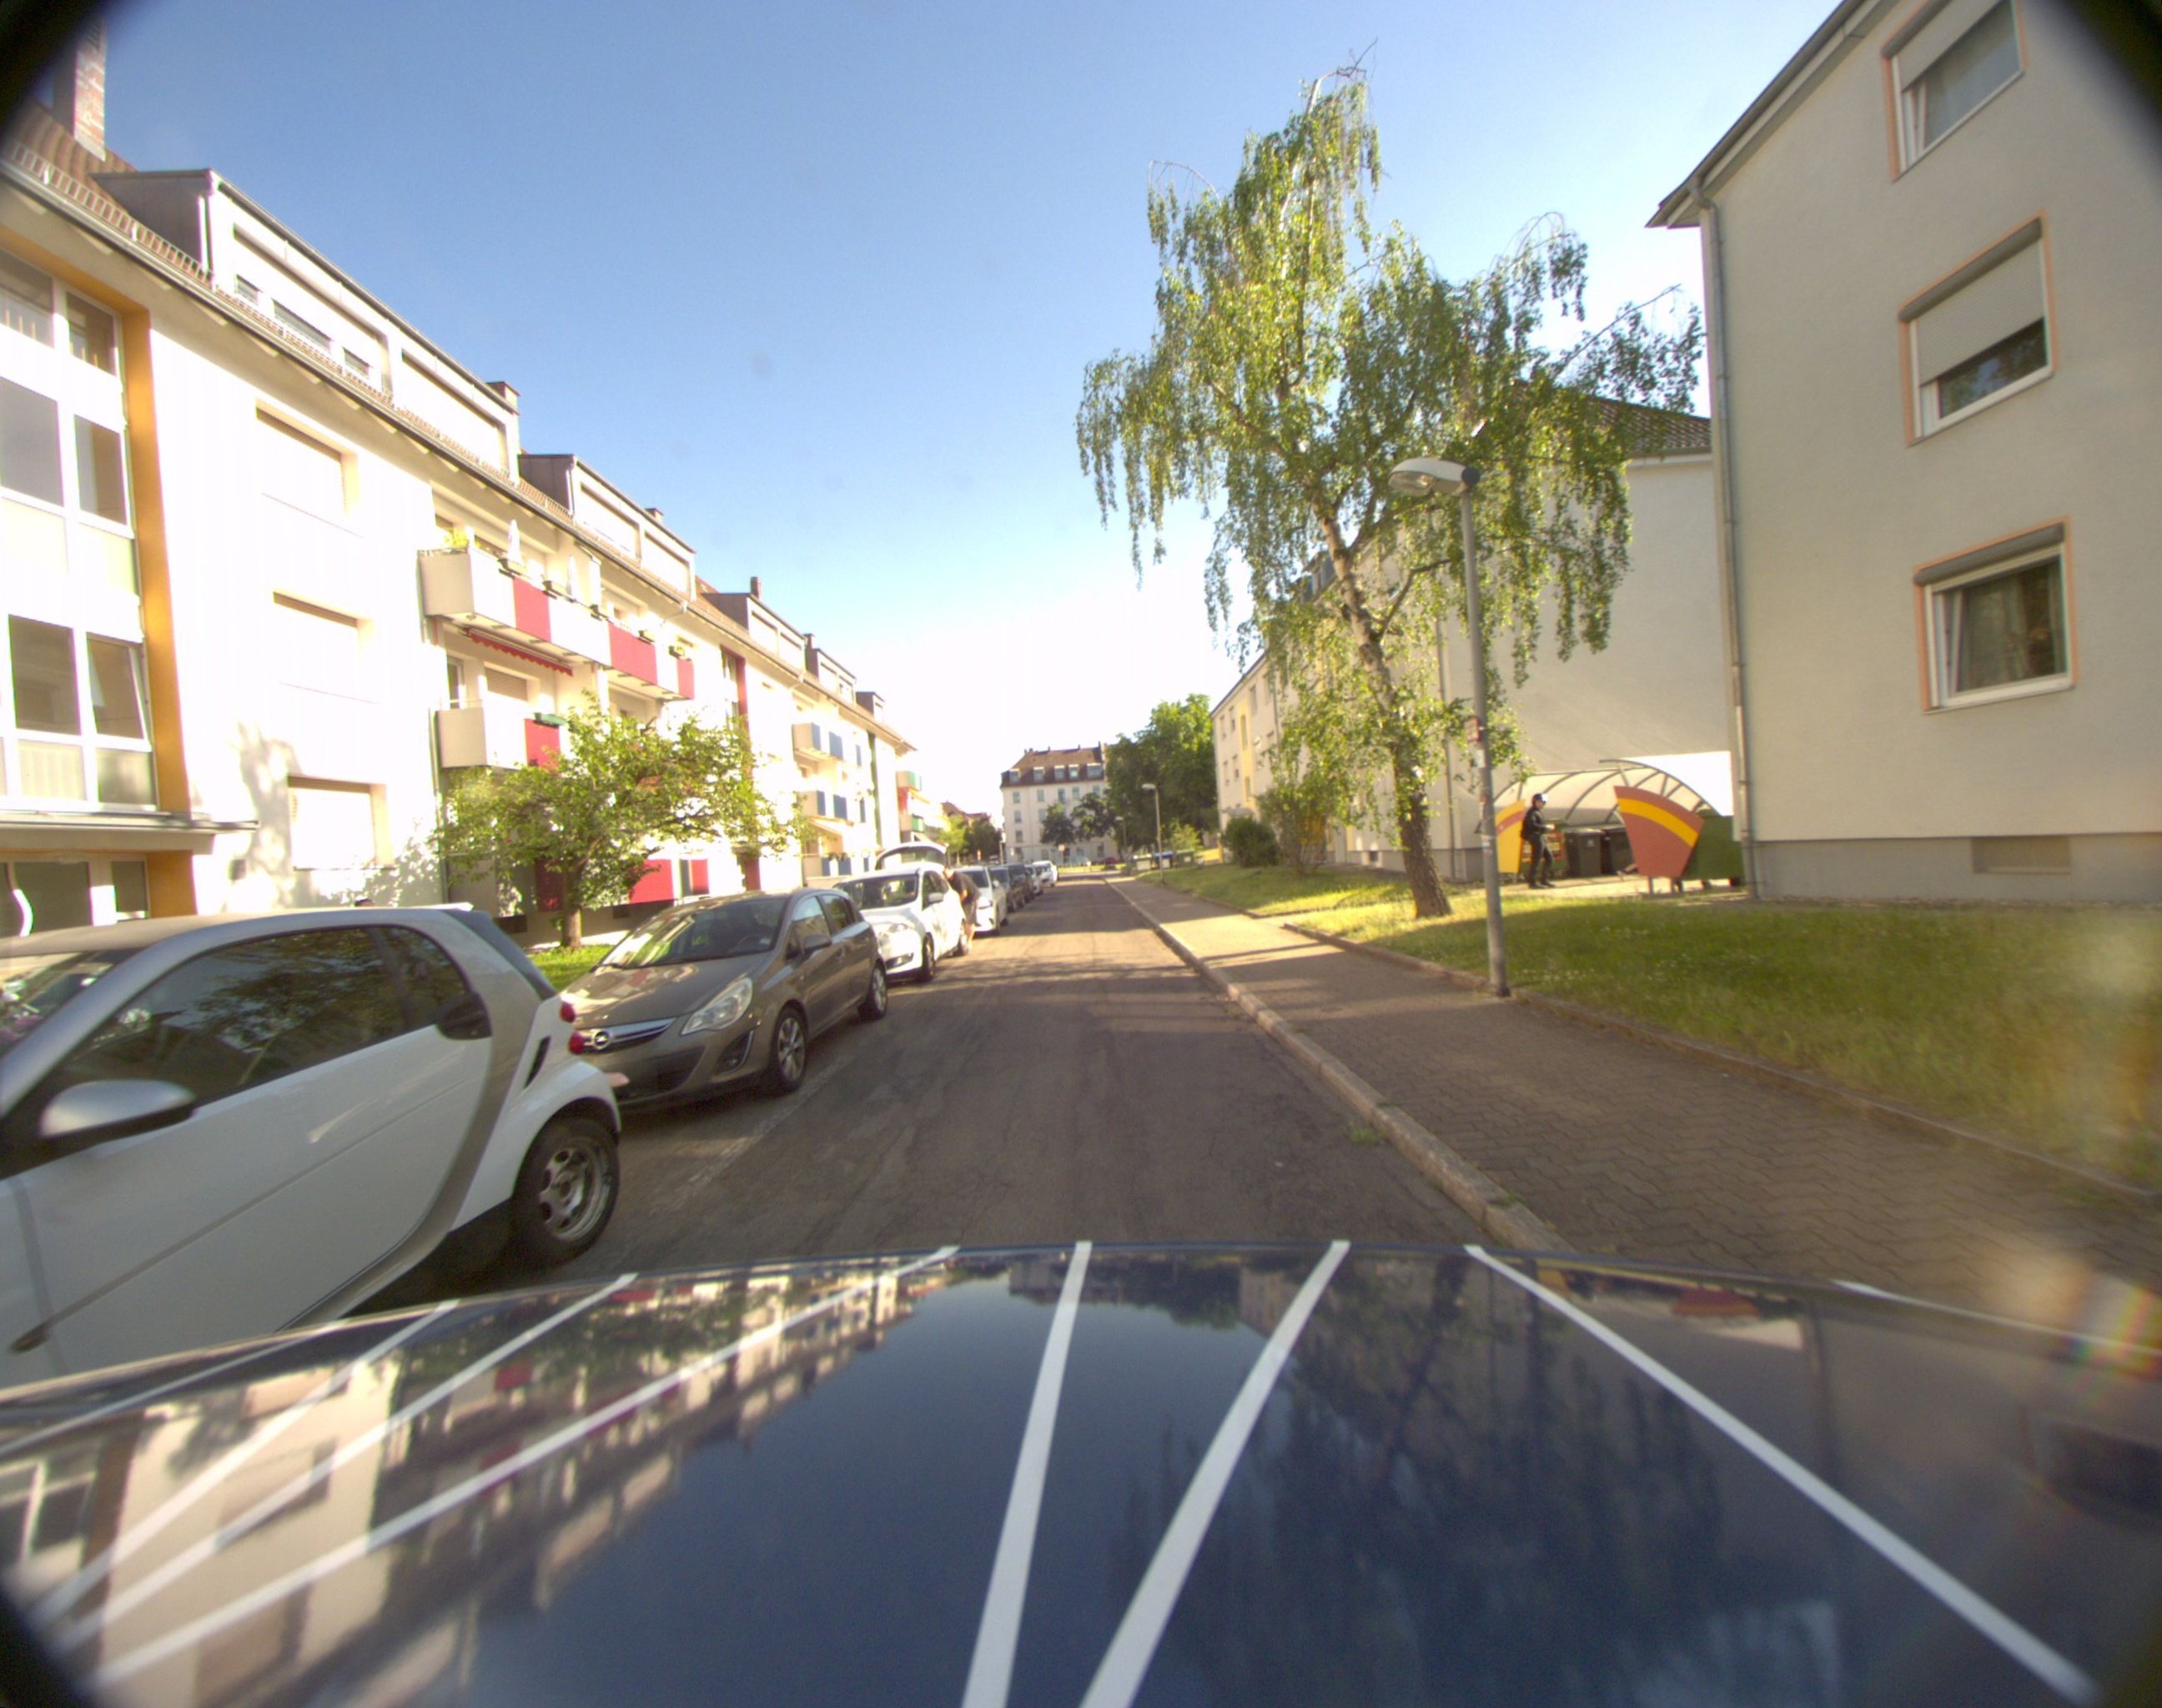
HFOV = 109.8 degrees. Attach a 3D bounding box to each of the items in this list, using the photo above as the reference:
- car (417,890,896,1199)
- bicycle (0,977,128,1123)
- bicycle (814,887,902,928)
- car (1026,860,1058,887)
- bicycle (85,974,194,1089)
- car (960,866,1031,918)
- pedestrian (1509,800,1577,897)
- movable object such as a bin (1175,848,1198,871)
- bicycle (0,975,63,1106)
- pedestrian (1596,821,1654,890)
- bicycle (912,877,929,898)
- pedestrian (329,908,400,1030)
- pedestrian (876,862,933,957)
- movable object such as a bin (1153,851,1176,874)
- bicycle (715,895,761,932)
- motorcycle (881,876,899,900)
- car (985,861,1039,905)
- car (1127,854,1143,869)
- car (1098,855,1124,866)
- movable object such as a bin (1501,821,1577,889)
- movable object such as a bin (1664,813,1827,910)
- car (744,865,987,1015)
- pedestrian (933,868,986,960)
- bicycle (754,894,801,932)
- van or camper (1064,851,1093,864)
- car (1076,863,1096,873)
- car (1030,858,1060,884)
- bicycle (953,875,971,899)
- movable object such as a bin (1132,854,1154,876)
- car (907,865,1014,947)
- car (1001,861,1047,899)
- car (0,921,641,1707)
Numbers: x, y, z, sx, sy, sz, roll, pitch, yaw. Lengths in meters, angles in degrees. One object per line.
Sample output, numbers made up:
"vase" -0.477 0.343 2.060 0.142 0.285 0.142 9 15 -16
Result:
"car" -2.941 1.196 6.398 1.698 1.482 3.984 -6 0 -1
"bicycle" -9.143 1.690 6.452 0.404 1.080 1.299 -2 0 1
"bicycle" -6.891 1.658 23.550 2.429 1.123 0.879 -3 0 6
"car" -2.423 1.189 47.965 1.695 1.410 4.097 -6 0 -1
"bicycle" -9.110 1.714 7.361 0.742 1.041 0.239 -2 0 3
"car" -2.832 1.221 25.945 1.650 1.441 4.061 -6 0 3
"pedestrian" 9.033 -0.104 14.867 0.808 1.813 0.718 -3 0 1
"movable object such as a bin" 7.579 0.370 54.701 1.363 1.445 1.073 -8 0 0
"bicycle" -10.043 1.730 6.675 0.404 1.126 1.273 -4 0 1
"pedestrian" 10.817 0.025 15.129 0.687 1.309 0.575 -3 0 1
"bicycle" -8.746 1.827 41.419 0.539 1.076 1.873 -1 0 -1
"pedestrian" -9.146 1.453 9.709 0.451 1.486 0.360 -3 2 1
"pedestrian" -3.240 1.003 13.993 0.821 1.677 0.604 -2 0 0
"movable object such as a bin" 6.001 0.592 54.682 1.358 1.451 1.082 -8 0 0
"bicycle" -10.867 1.866 24.137 0.521 1.031 1.975 -2 0 1
"motorcycle" -10.474 1.828 41.663 0.442 1.231 1.977 -3 0 0
"car" -2.718 1.104 30.594 1.728 1.569 4.353 -3 0 -1
"car" 6.254 0.883 87.663 1.678 1.645 3.305 -3 0 4
"car" 4.779 1.062 119.968 3.996 1.477 1.722 -3 0 2
"movable object such as a bin" 10.070 0.025 16.731 1.087 1.397 0.813 -4 0 1
"movable object such as a bin" 10.430 0.119 12.003 1.391 1.328 1.228 -6 0 0
"car" -2.938 1.079 11.723 1.998 1.603 4.996 -5 -1 2
"pedestrian" -2.167 1.052 13.646 0.741 1.566 0.880 -2 0 0
"bicycle" -9.549 1.829 24.001 0.521 1.042 2.288 -1 0 1
"van or camper" -0.421 0.587 120.273 4.355 1.852 2.000 -3 0 -2
"car" 0.816 2.246 124.433 3.192 1.499 1.545 -2 0 0
"car" -2.460 1.180 53.278 1.805 1.583 4.581 -5 0 -1
"bicycle" -6.365 1.759 40.658 0.546 1.163 1.873 -2 0 2
"movable object such as a bin" 4.447 0.794 54.619 1.318 1.451 1.198 -7 0 0
"car" -2.657 1.094 17.724 1.777 1.496 4.480 -5 0 -2
"car" -2.636 1.171 35.896 1.717 1.500 3.853 -7 0 -1
"car" -2.978 1.145 2.127 1.483 1.520 2.942 -6 0 4
